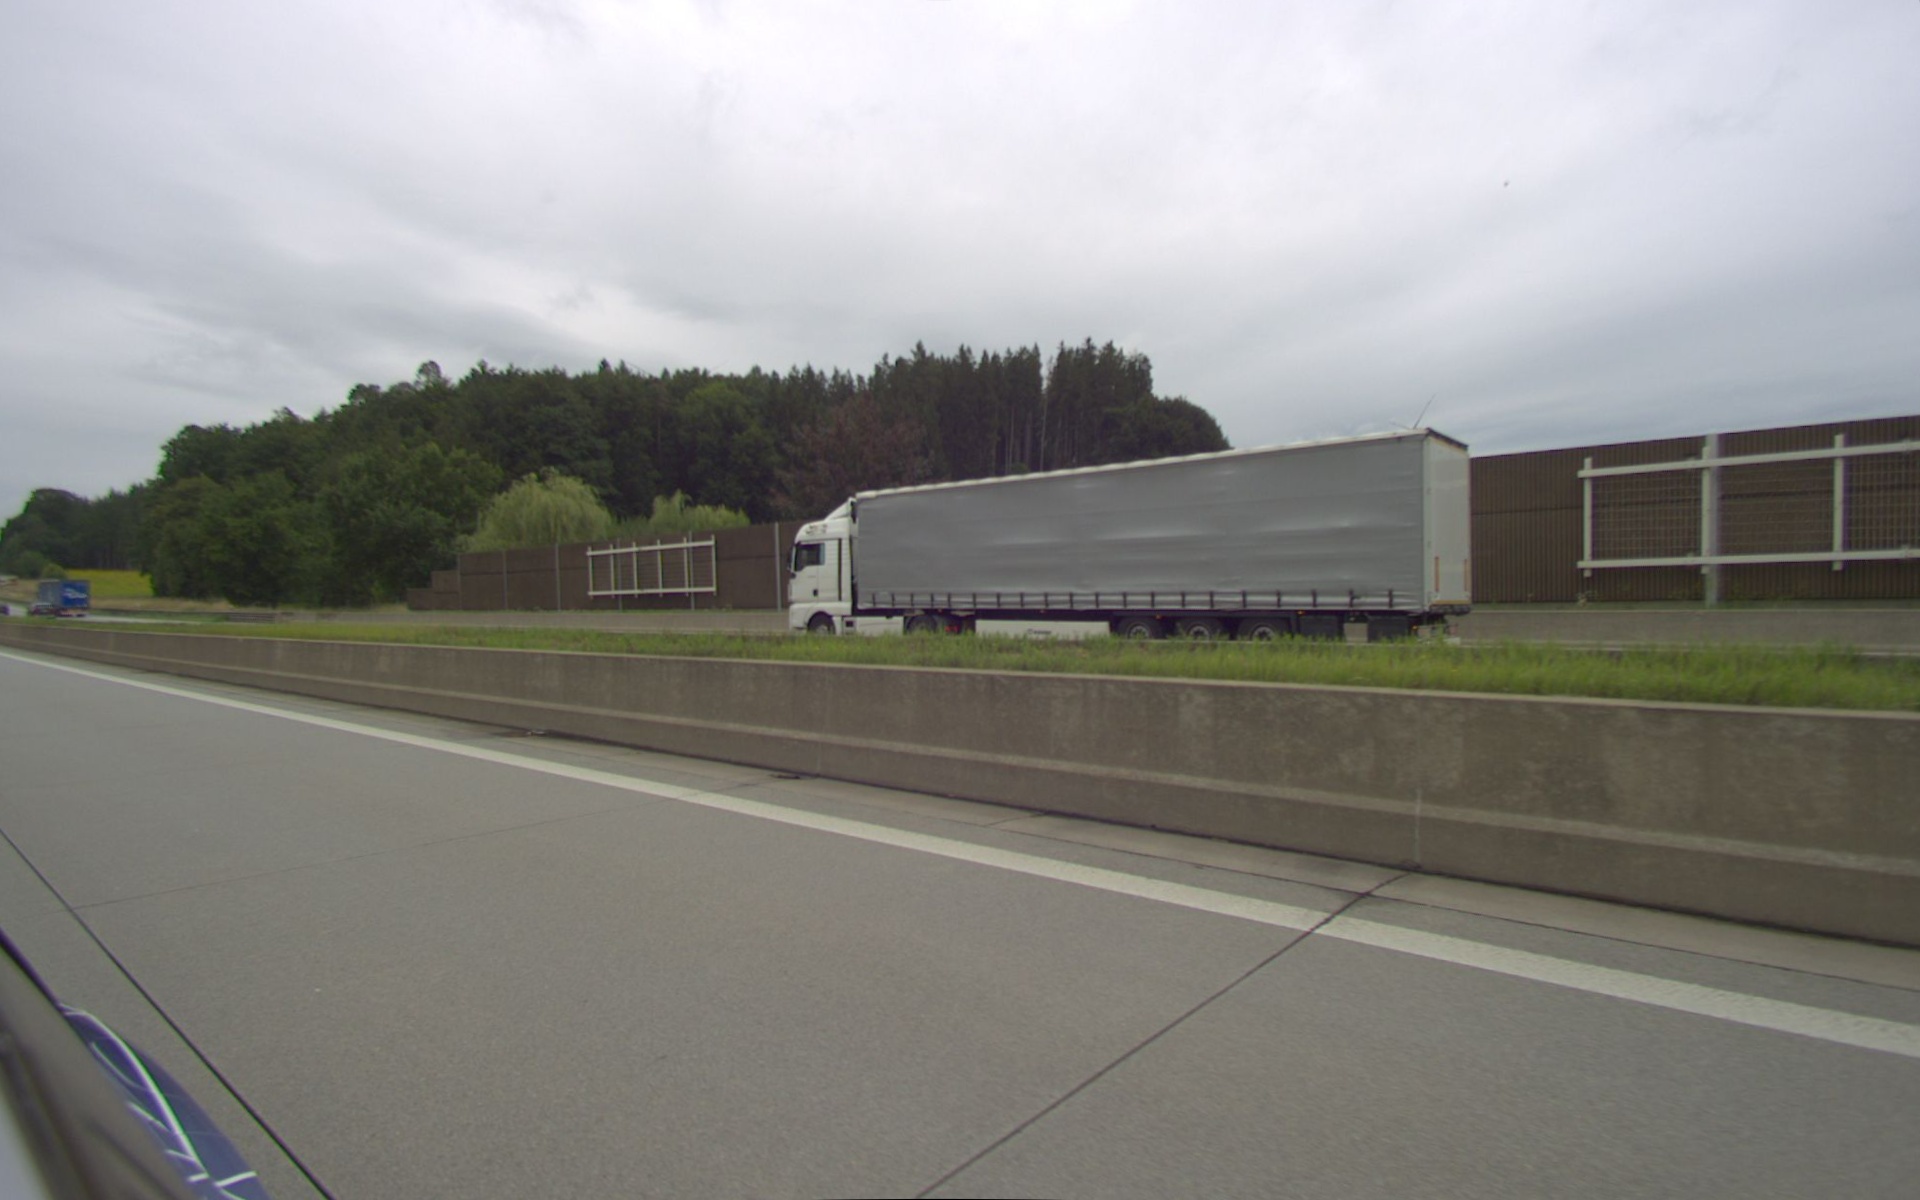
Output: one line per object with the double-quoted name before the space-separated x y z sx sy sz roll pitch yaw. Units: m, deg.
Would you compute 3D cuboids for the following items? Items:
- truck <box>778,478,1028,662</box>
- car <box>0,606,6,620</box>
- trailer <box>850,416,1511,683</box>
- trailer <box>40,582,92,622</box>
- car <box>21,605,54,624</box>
"truck" -1.574 -0.656 25.694 6.213 4.114 2.655 -1 0 41
"car" -116.037 1.575 121.510 4.515 1.511 1.620 1 2 40
"trailer" 3.480 -0.729 21.291 13.997 4.127 2.669 -1 0 41
"trailer" -100.984 0.164 114.168 13.788 4.240 2.682 1 2 41
"car" -89.077 1.375 97.701 4.729 1.780 1.798 0 1 40
